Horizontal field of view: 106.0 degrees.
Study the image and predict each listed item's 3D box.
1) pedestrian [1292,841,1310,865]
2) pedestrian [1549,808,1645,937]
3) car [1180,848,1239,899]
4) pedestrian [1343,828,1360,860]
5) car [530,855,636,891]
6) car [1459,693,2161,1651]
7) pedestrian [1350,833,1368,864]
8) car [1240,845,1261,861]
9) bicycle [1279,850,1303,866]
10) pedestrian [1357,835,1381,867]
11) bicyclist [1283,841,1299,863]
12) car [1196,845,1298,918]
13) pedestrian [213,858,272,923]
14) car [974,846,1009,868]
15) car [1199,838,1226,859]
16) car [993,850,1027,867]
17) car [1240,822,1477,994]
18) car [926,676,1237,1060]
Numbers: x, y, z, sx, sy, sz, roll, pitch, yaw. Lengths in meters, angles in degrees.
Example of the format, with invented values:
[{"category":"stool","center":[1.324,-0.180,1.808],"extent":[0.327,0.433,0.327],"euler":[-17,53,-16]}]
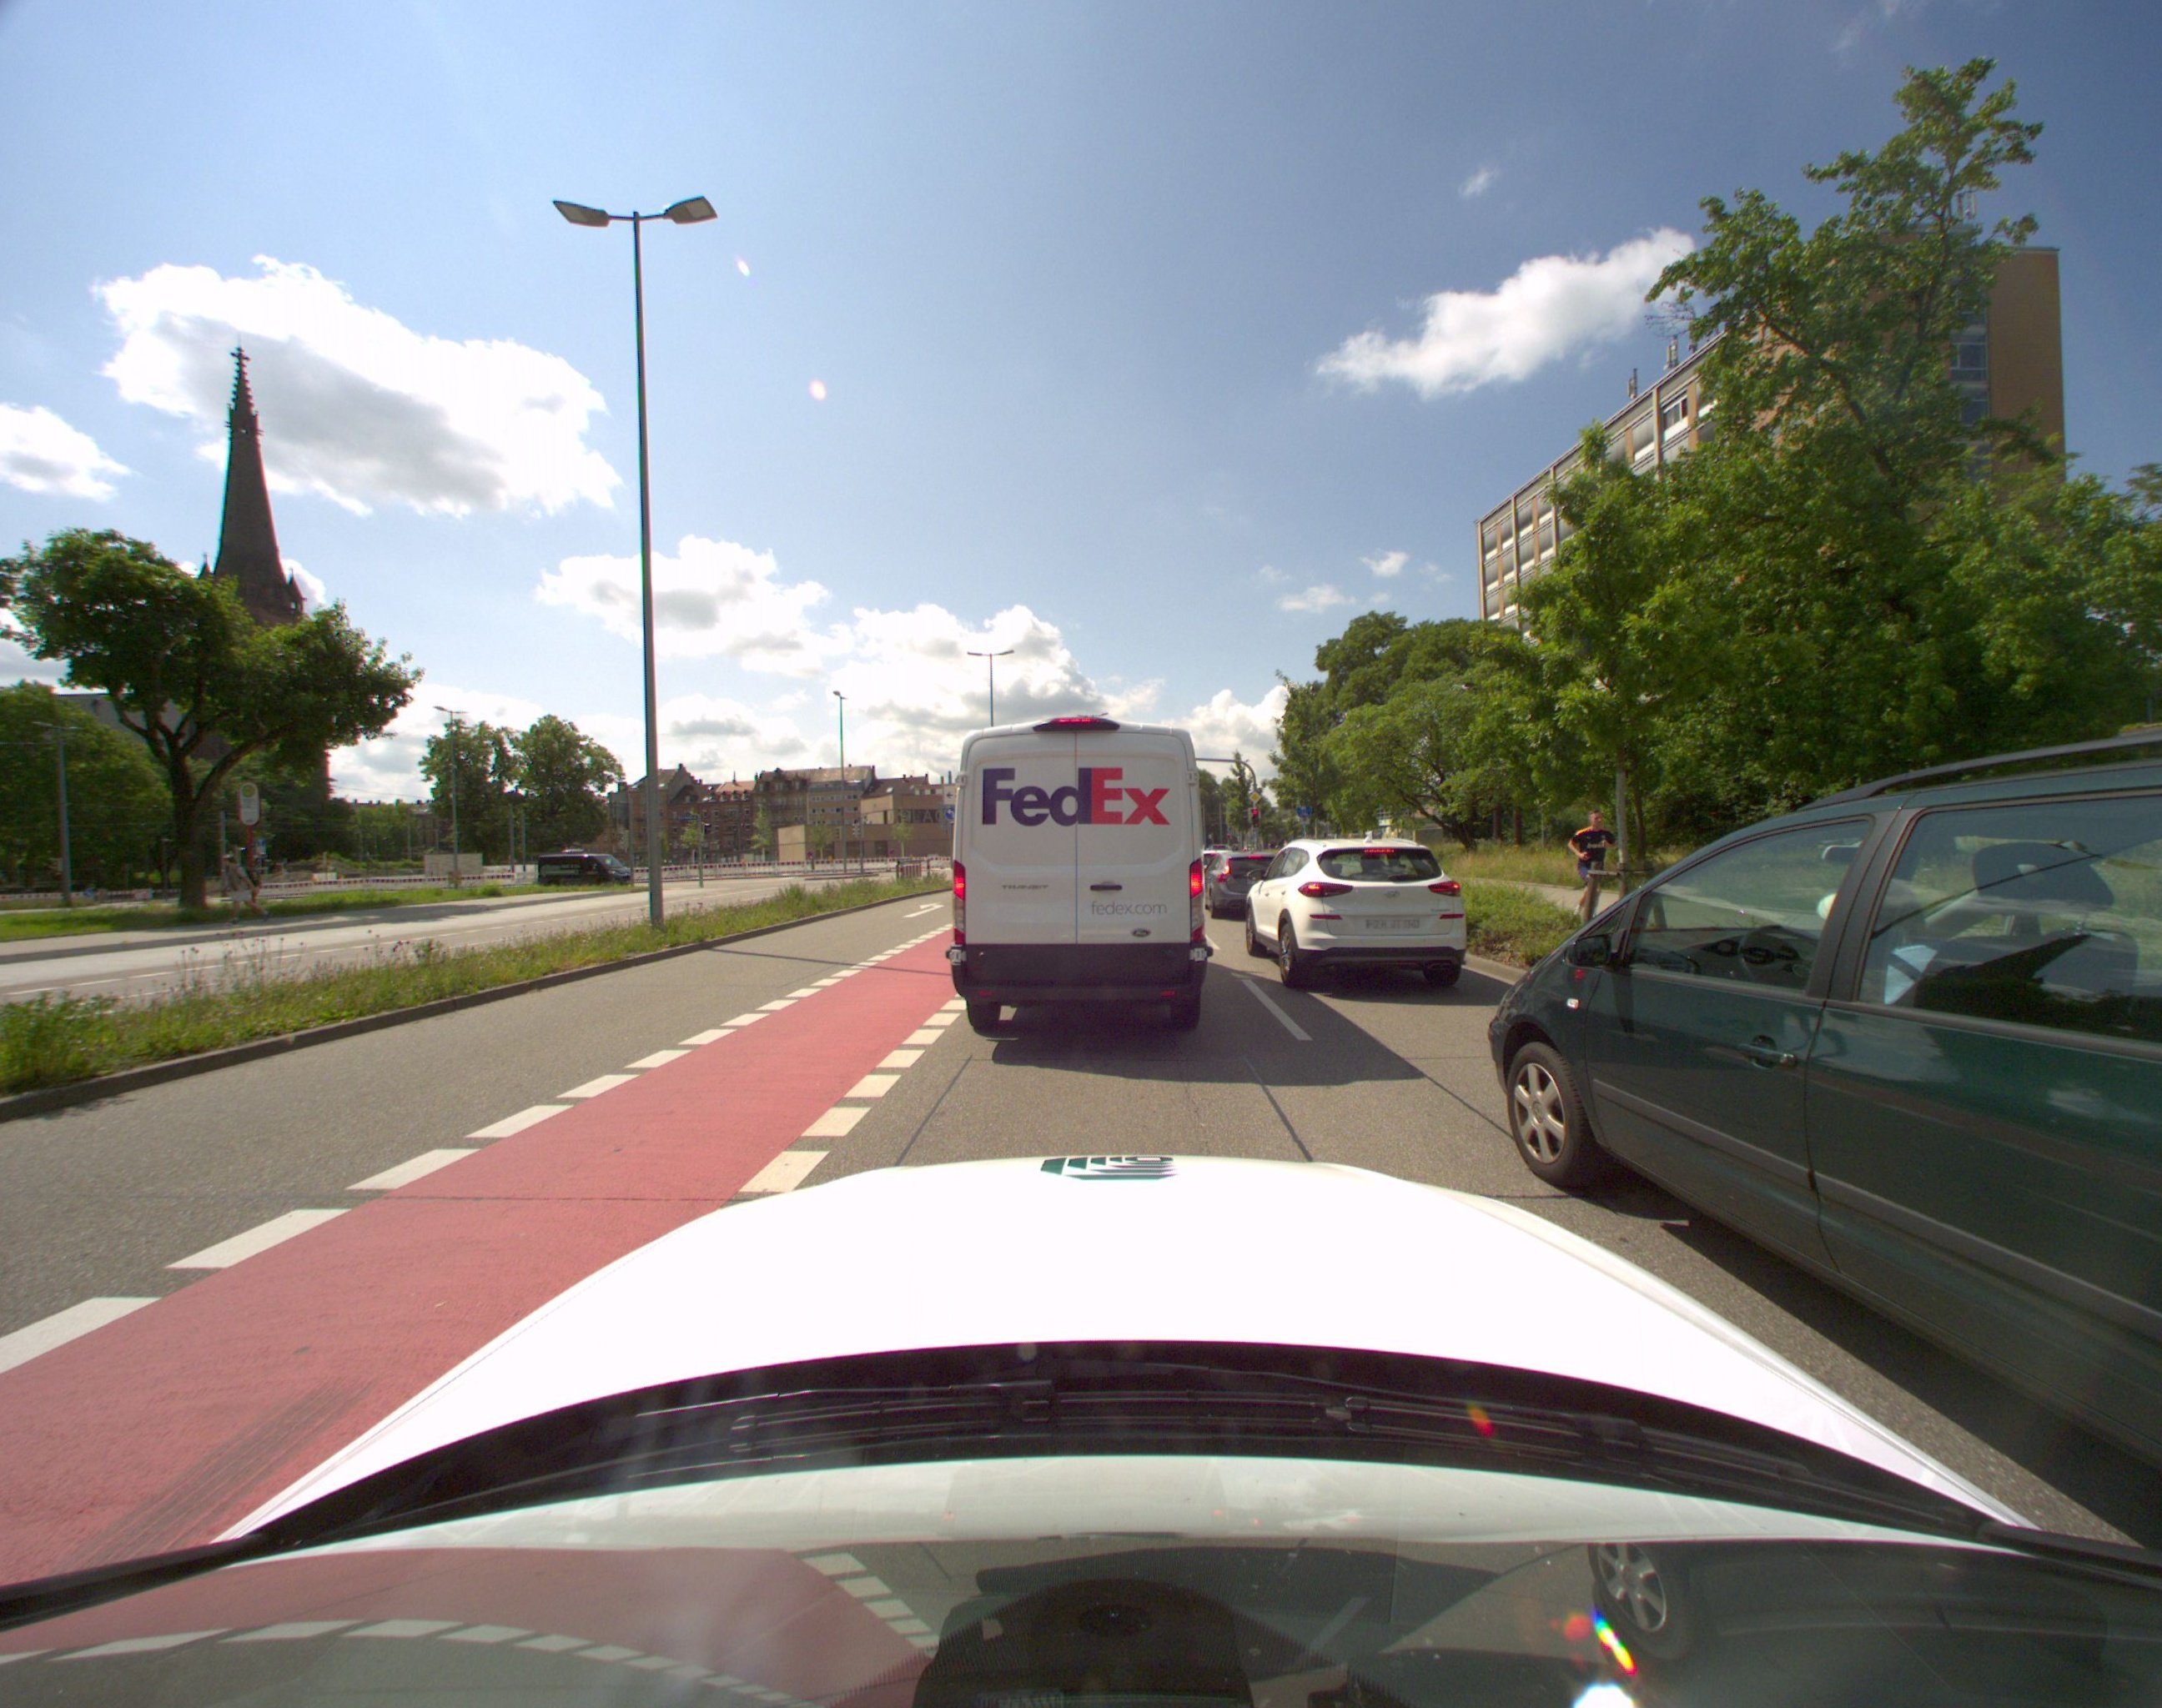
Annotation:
[{"category":"pedestrian","center":[12.746,-0.058,47.181],"extent":[0.842,1.389,0.741],"euler":[-2,0,1]},{"category":"pedestrian","center":[7.891,0.269,12.488],"extent":[0.947,1.892,0.774],"euler":[-2,0,1]},{"category":"car","center":[3.963,0.564,25.496],"extent":[1.478,1.428,3.436],"euler":[-2,0,4]},{"category":"pedestrian","center":[17.620,-0.682,53.049],"extent":[0.731,2.057,0.853],"euler":[-2,0,41]},{"category":"car","center":[-29.496,1.111,48.352],"extent":[4.995,1.878,1.928],"euler":[-2,1,-2]},{"category":"car","center":[2.873,0.558,2.162],"extent":[1.805,1.734,4.390],"euler":[-1,0,2]},{"category":"pedestrian","center":[18.396,-0.355,53.894],"extent":[0.847,2.013,0.736],"euler":[-2,0,-18]},{"category":"car","center":[21.317,-0.130,102.329],"extent":[1.977,1.794,4.393],"euler":[-2,0,19]},{"category":"bicycle","center":[14.146,0.268,54.839],"extent":[1.937,1.030,0.541],"euler":[-2,0,-40]},{"category":"pedestrian","center":[14.204,-0.150,40.151],"extent":[0.842,1.539,0.835],"euler":[-2,0,1]},{"category":"bicyclist","center":[14.117,-0.124,54.831],"extent":[0.976,1.474,0.545],"euler":[-2,0,-40]},{"category":"car","center":[3.723,0.556,18.859],"extent":[1.790,1.461,3.842],"euler":[-2,0,4]},{"category":"pedestrian","center":[-20.970,0.894,20.374],"extent":[0.548,1.560,0.881],"euler":[-2,0,29]},{"category":"car","center":[-8.930,0.299,81.454],"extent":[1.978,2.013,4.017],"euler":[-2,0,16]},{"category":"car","center":[13.024,-0.540,80.331],"extent":[2.077,2.013,4.663],"euler":[-2,0,16]},{"category":"car","center":[-6.906,0.409,79.726],"extent":[1.886,1.585,4.017],"euler":[-2,0,16]},{"category":"car","center":[3.175,0.525,10.182],"extent":[1.790,1.687,4.004],"euler":[-2,0,4]},{"category":"car","center":[0.003,0.085,8.567],"extent":[2.134,2.652,5.703],"euler":[-1,0,0]}]
